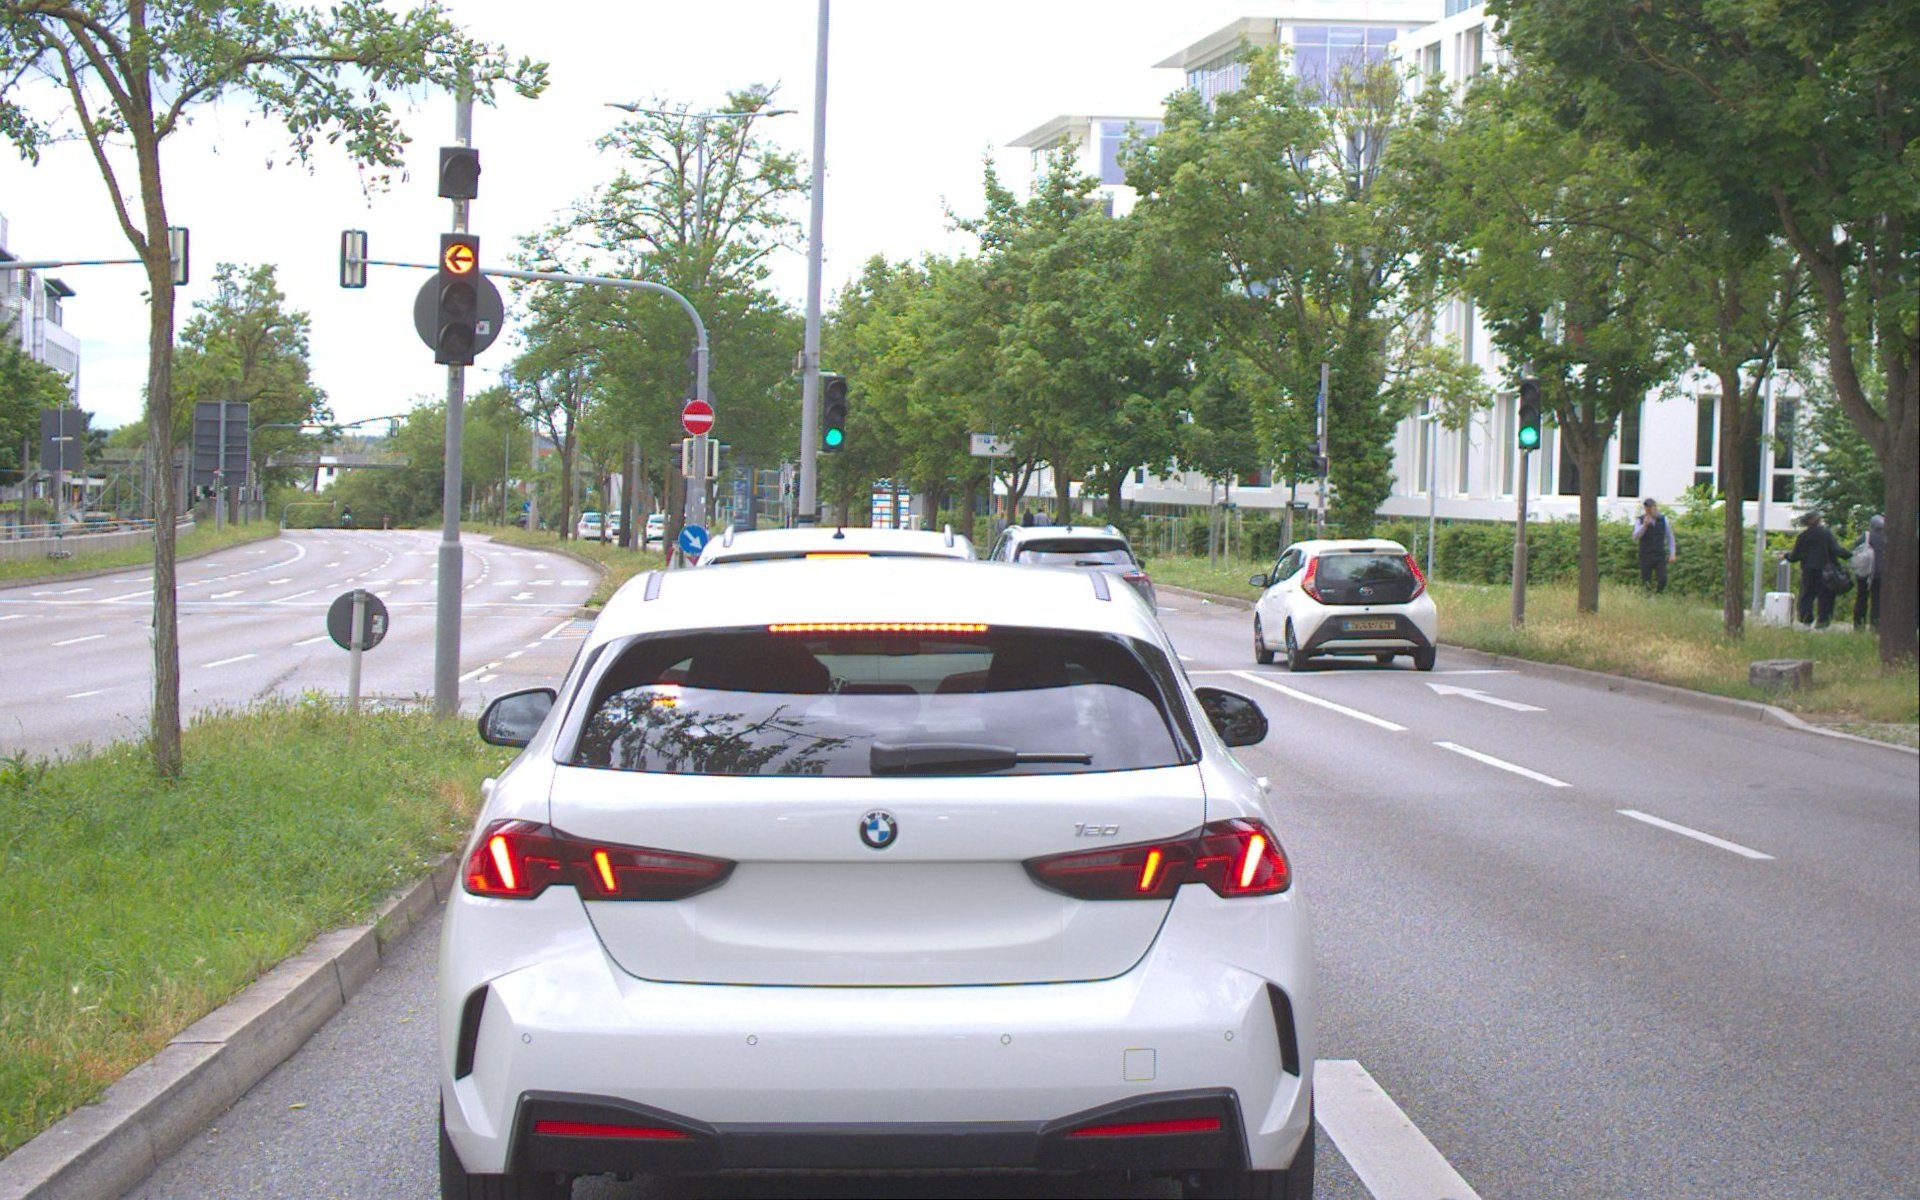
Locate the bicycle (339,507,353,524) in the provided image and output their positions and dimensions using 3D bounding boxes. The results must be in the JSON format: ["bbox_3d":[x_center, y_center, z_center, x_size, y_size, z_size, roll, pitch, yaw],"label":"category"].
[{"bbox_3d":[-42.688,-5.883,238.966,0.810,1.100,2.557,1,1,-7],"label":"bicycle"}]

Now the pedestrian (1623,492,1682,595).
[{"bbox_3d":[10.720,-0.872,53.200,0.741,1.568,0.674,1,0,-1],"label":"pedestrian"}]

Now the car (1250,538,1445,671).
[{"bbox_3d":[4.341,0.017,38.984,1.653,1.420,3.536,0,1,-3],"label":"car"}]

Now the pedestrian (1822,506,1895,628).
[{"bbox_3d":[11.855,-0.434,45.374,0.699,1.590,0.883,1,0,-1],"label":"pedestrian"}]

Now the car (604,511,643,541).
[{"bbox_3d":[-20.032,-4.384,204.427,1.993,1.726,4.001,1,1,-10],"label":"car"}]

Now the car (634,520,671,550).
[{"bbox_3d":[-16.145,-3.411,180.368,1.692,1.481,3.694,1,1,-9],"label":"car"}]

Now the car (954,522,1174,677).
[{"bbox_3d":[1.093,-0.050,38.333,1.891,1.590,4.314,1,1,-5],"label":"car"}]

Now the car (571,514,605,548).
[{"bbox_3d":[-19.325,-3.579,178.625,1.695,1.711,4.001,1,1,-7],"label":"car"}]

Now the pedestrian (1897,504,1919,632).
[{"bbox_3d":[12.891,-0.419,45.389,0.767,1.679,0.883,1,0,-1],"label":"pedestrian"}]

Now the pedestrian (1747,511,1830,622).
[{"bbox_3d":[11.018,-0.449,45.758,0.789,1.443,1.112,1,0,-1],"label":"pedestrian"}]

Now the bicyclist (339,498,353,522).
[{"bbox_3d":[-42.684,-6.272,238.998,0.810,1.647,1.189,1,0,-7],"label":"bicyclist"}]

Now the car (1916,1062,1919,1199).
[{"bbox_3d":[2.827,0.742,5.225,1.605,1.463,3.676,1,1,-2],"label":"car"}]

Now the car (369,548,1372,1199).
[{"bbox_3d":[-0.190,0.618,8.341,1.822,1.433,4.000,1,1,-1],"label":"car"}]

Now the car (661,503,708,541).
[{"bbox_3d":[-12.438,-3.524,155.045,1.993,1.664,4.001,-1,1,-7],"label":"car"}]

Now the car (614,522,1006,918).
[{"bbox_3d":[-0.628,0.448,15.859,1.549,1.563,4.000,1,1,-1],"label":"car"}]

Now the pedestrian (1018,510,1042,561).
[{"bbox_3d":[2.766,-2.553,136.174,0.762,2.007,0.754,1,0,-15],"label":"pedestrian"}]
